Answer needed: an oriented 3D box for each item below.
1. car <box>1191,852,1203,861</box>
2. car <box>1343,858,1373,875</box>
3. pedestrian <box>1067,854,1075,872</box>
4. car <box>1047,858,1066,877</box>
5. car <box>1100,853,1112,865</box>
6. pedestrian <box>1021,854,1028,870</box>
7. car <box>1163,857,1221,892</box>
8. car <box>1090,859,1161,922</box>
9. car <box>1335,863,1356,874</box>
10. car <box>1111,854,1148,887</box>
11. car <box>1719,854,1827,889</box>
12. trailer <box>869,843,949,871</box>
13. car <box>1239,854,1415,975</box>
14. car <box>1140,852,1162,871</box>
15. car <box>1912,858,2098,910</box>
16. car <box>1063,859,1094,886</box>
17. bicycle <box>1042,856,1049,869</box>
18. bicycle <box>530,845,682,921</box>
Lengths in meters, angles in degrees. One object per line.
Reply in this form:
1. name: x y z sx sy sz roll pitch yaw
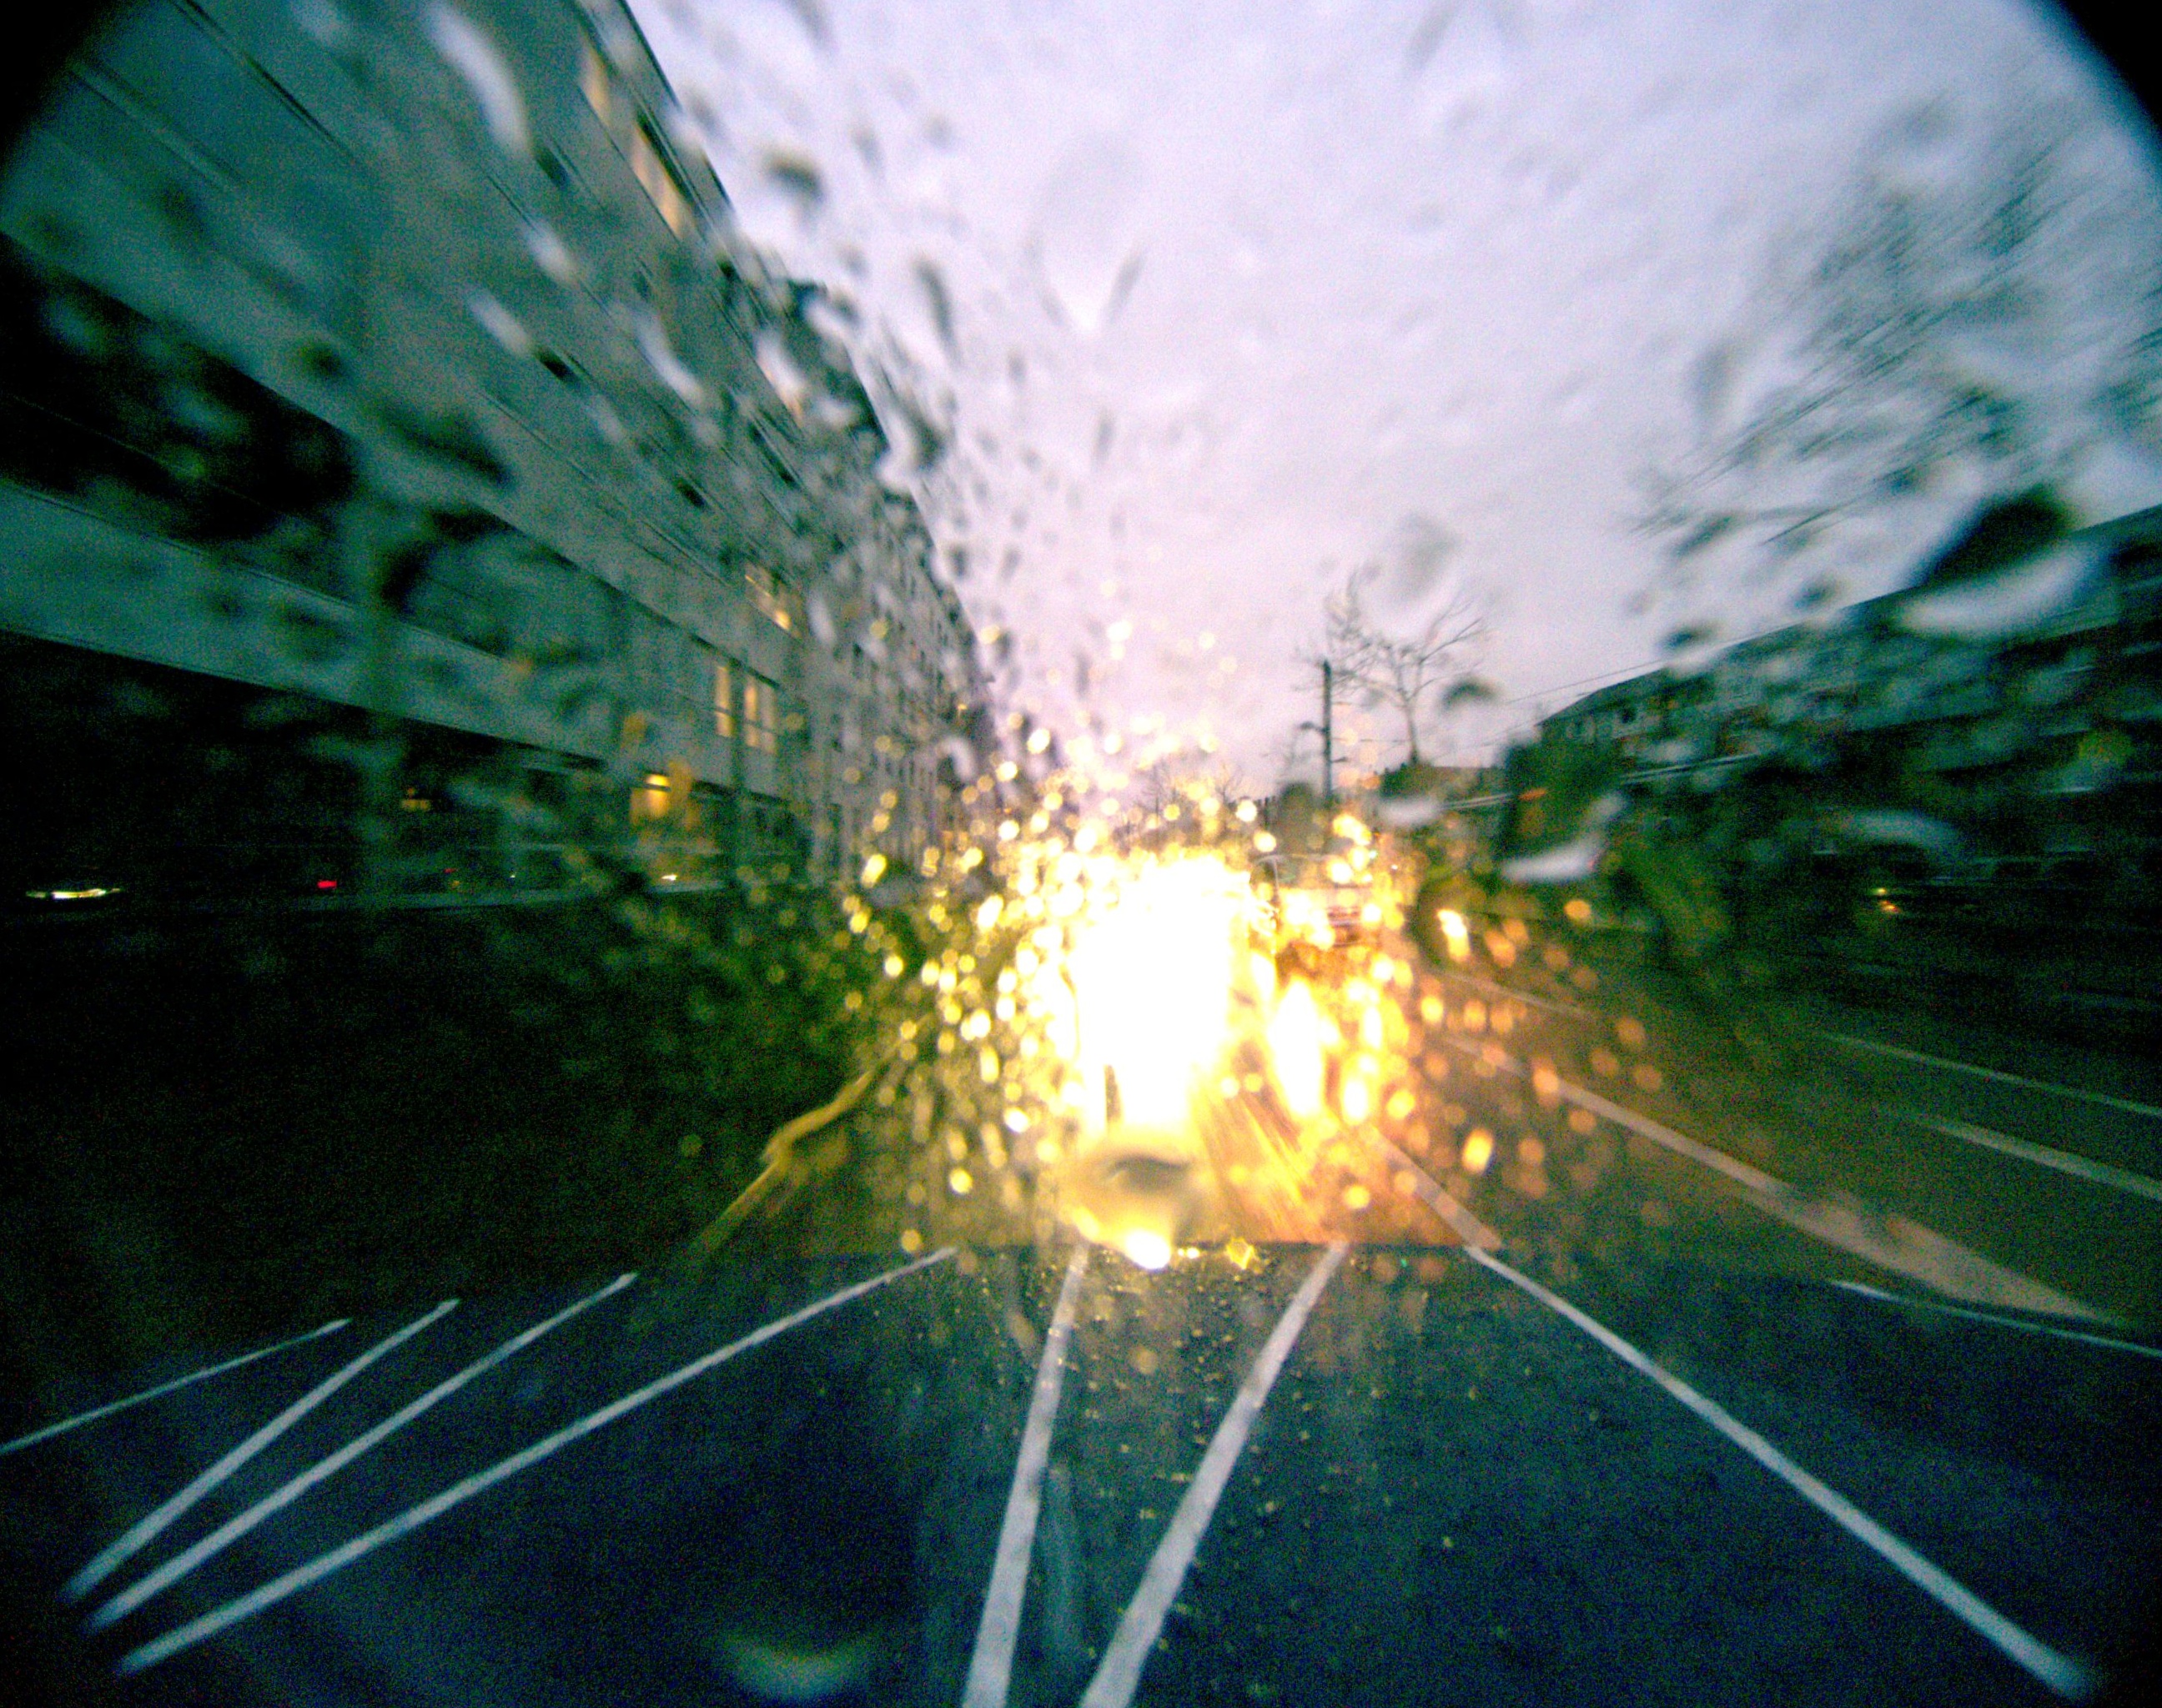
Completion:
1. car: 23.142 0.487 151.624 1.527 1.629 3.748 0 1 -3
2. car: 26.079 1.162 71.694 1.692 1.427 3.236 -1 1 1
3. pedestrian: -1.067 0.950 80.916 0.773 1.798 0.699 4 1 -4
4. car: -2.130 1.169 66.954 1.600 1.432 4.227 -1 1 -1
5. car: 3.472 0.691 106.088 1.493 1.585 3.999 -1 1 0
6. pedestrian: -6.152 0.832 83.011 0.739 1.726 0.702 -1 1 -3
7. car: 5.038 0.912 35.124 1.975 1.492 4.091 -1 0 -1
8. car: 1.154 0.928 20.993 1.757 1.418 3.803 -1 2 1
9. car: 25.745 1.419 73.913 1.147 0.932 2.491 0 1 -1
10. car: 2.591 0.868 41.326 1.764 1.520 3.733 -1 2 0
11. car: 33.165 0.795 36.588 1.728 1.535 4.152 -1 1 6
12. trailer: -12.058 0.217 53.535 5.078 1.900 2.131 0 -1 5
13. car: 3.950 0.876 12.931 2.020 1.667 4.001 -1 1 5
14. car: 6.366 0.684 69.615 1.710 1.647 3.753 -1 1 0
15. car: 33.085 1.005 27.417 1.729 1.636 4.151 -1 1 2
16. car: -0.134 1.008 42.026 1.595 1.386 3.486 2 -1 -1
17. bicycle: -3.375 0.817 72.227 0.552 1.109 2.165 2 1 -1
18. bicycle: -8.859 0.524 14.343 0.823 1.266 2.461 4 0 16
